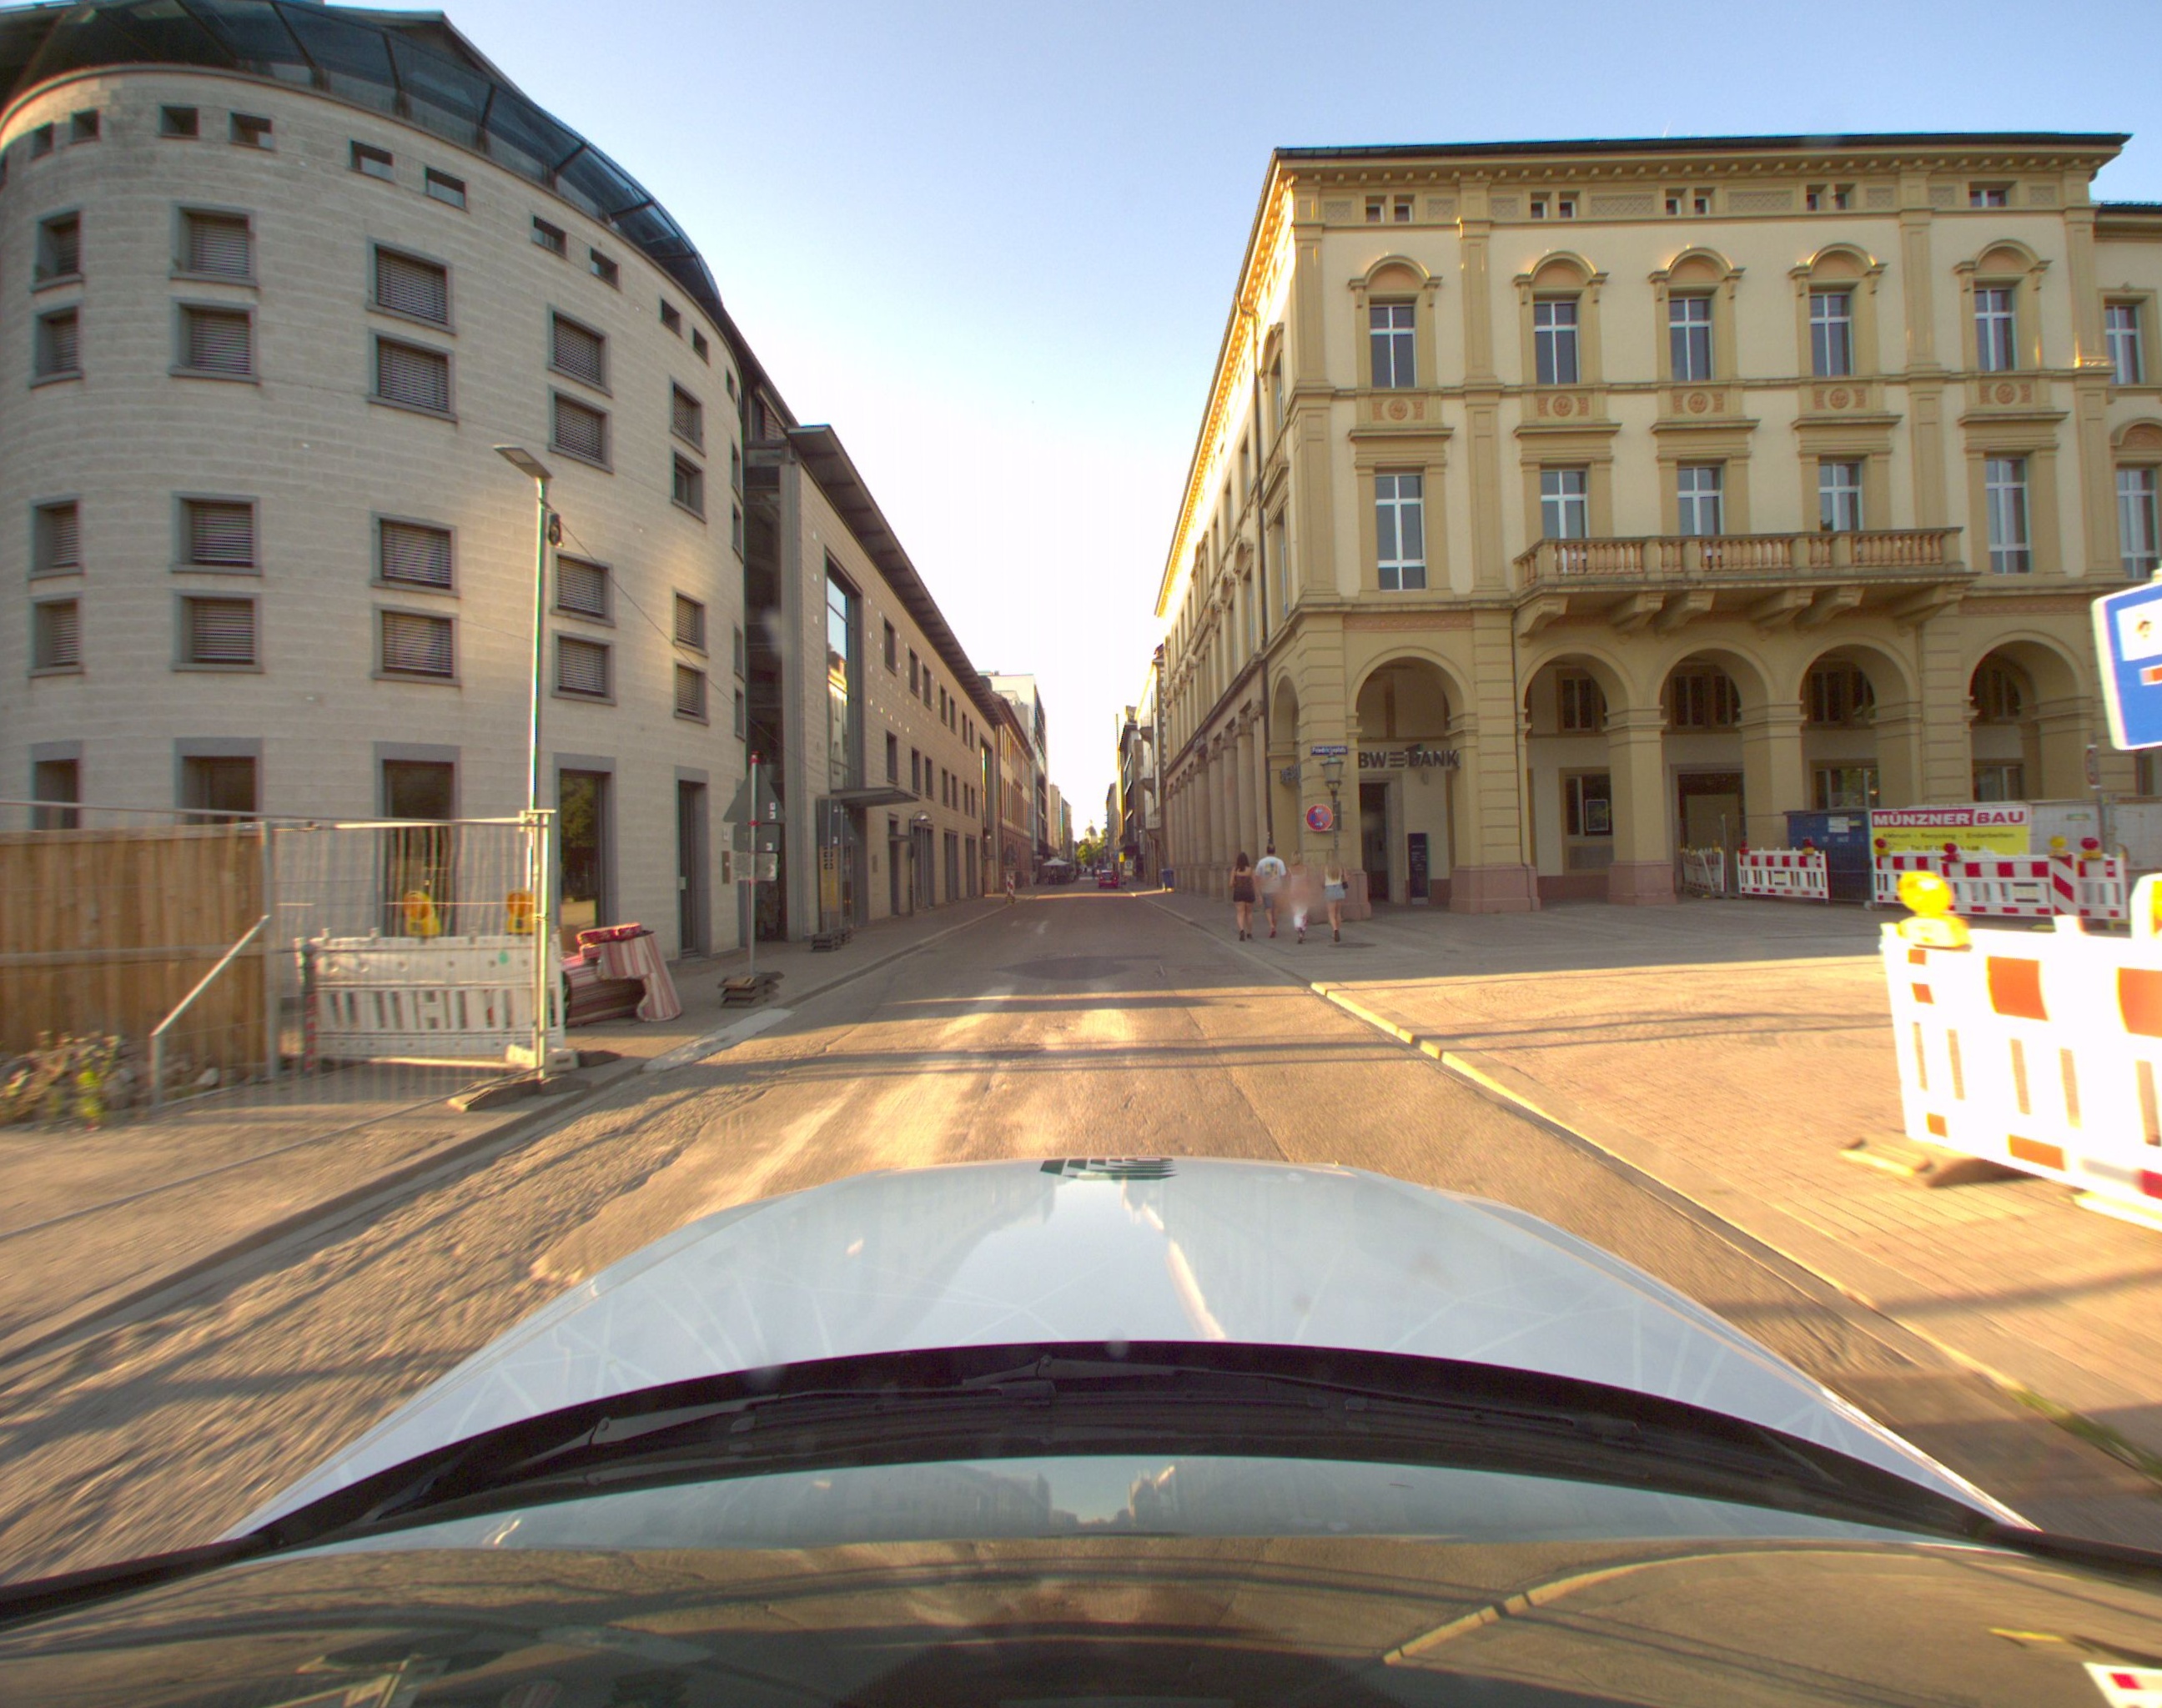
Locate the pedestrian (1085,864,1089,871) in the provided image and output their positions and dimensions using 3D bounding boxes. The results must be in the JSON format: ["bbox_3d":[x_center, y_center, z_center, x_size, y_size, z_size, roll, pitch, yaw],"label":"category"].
[{"bbox_3d":[1.214,2.911,175.818,0.801,1.673,0.889,-2,-1,2],"label":"pedestrian"}]

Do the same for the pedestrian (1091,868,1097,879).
[{"bbox_3d":[1.975,2.984,124.258,0.863,1.713,0.852,-1,-1,0],"label":"pedestrian"}]

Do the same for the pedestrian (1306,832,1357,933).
[{"bbox_3d":[4.631,0.524,15.081,0.634,1.803,0.771,-2,-1,-1],"label":"pedestrian"}]

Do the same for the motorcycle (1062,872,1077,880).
[{"bbox_3d":[-1.425,2.727,101.121,1.797,1.040,0.493,-1,-1,-4],"label":"motorcycle"}]

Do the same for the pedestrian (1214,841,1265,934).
[{"bbox_3d":[3.086,0.649,15.937,0.773,1.746,0.875,-2,-1,-1],"label":"pedestrian"}]

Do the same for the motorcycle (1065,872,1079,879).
[{"bbox_3d":[-1.192,2.894,109.256,1.797,0.875,0.560,-1,-1,-4],"label":"motorcycle"}]

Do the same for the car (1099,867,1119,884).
[{"bbox_3d":[2.365,1.815,69.368,1.643,1.427,3.536,1,-1,1],"label":"car"}]

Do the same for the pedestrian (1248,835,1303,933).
[{"bbox_3d":[3.880,0.592,16.329,0.809,1.875,0.875,-2,-1,-1],"label":"pedestrian"}]

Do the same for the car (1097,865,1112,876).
[{"bbox_3d":[3.345,2.379,118.651,1.988,1.611,3.998,-1,-1,-1],"label":"car"}]

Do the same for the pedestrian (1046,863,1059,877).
[{"bbox_3d":[-2.984,1.679,85.193,1.287,1.488,0.661,-1,-1,-2],"label":"pedestrian"}]

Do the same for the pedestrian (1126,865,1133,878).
[{"bbox_3d":[5.325,1.924,89.357,0.654,1.488,0.493,-2,-1,2],"label":"pedestrian"}]

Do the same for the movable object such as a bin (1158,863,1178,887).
[{"bbox_3d":[5.175,1.250,48.498,0.987,1.392,1.240,-2,-1,0],"label":"movable object such as a bin"}]

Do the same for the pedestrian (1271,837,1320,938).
[{"bbox_3d":[3.951,0.609,15.068,0.634,1.803,0.771,-2,-1,-1],"label":"pedestrian"}]
